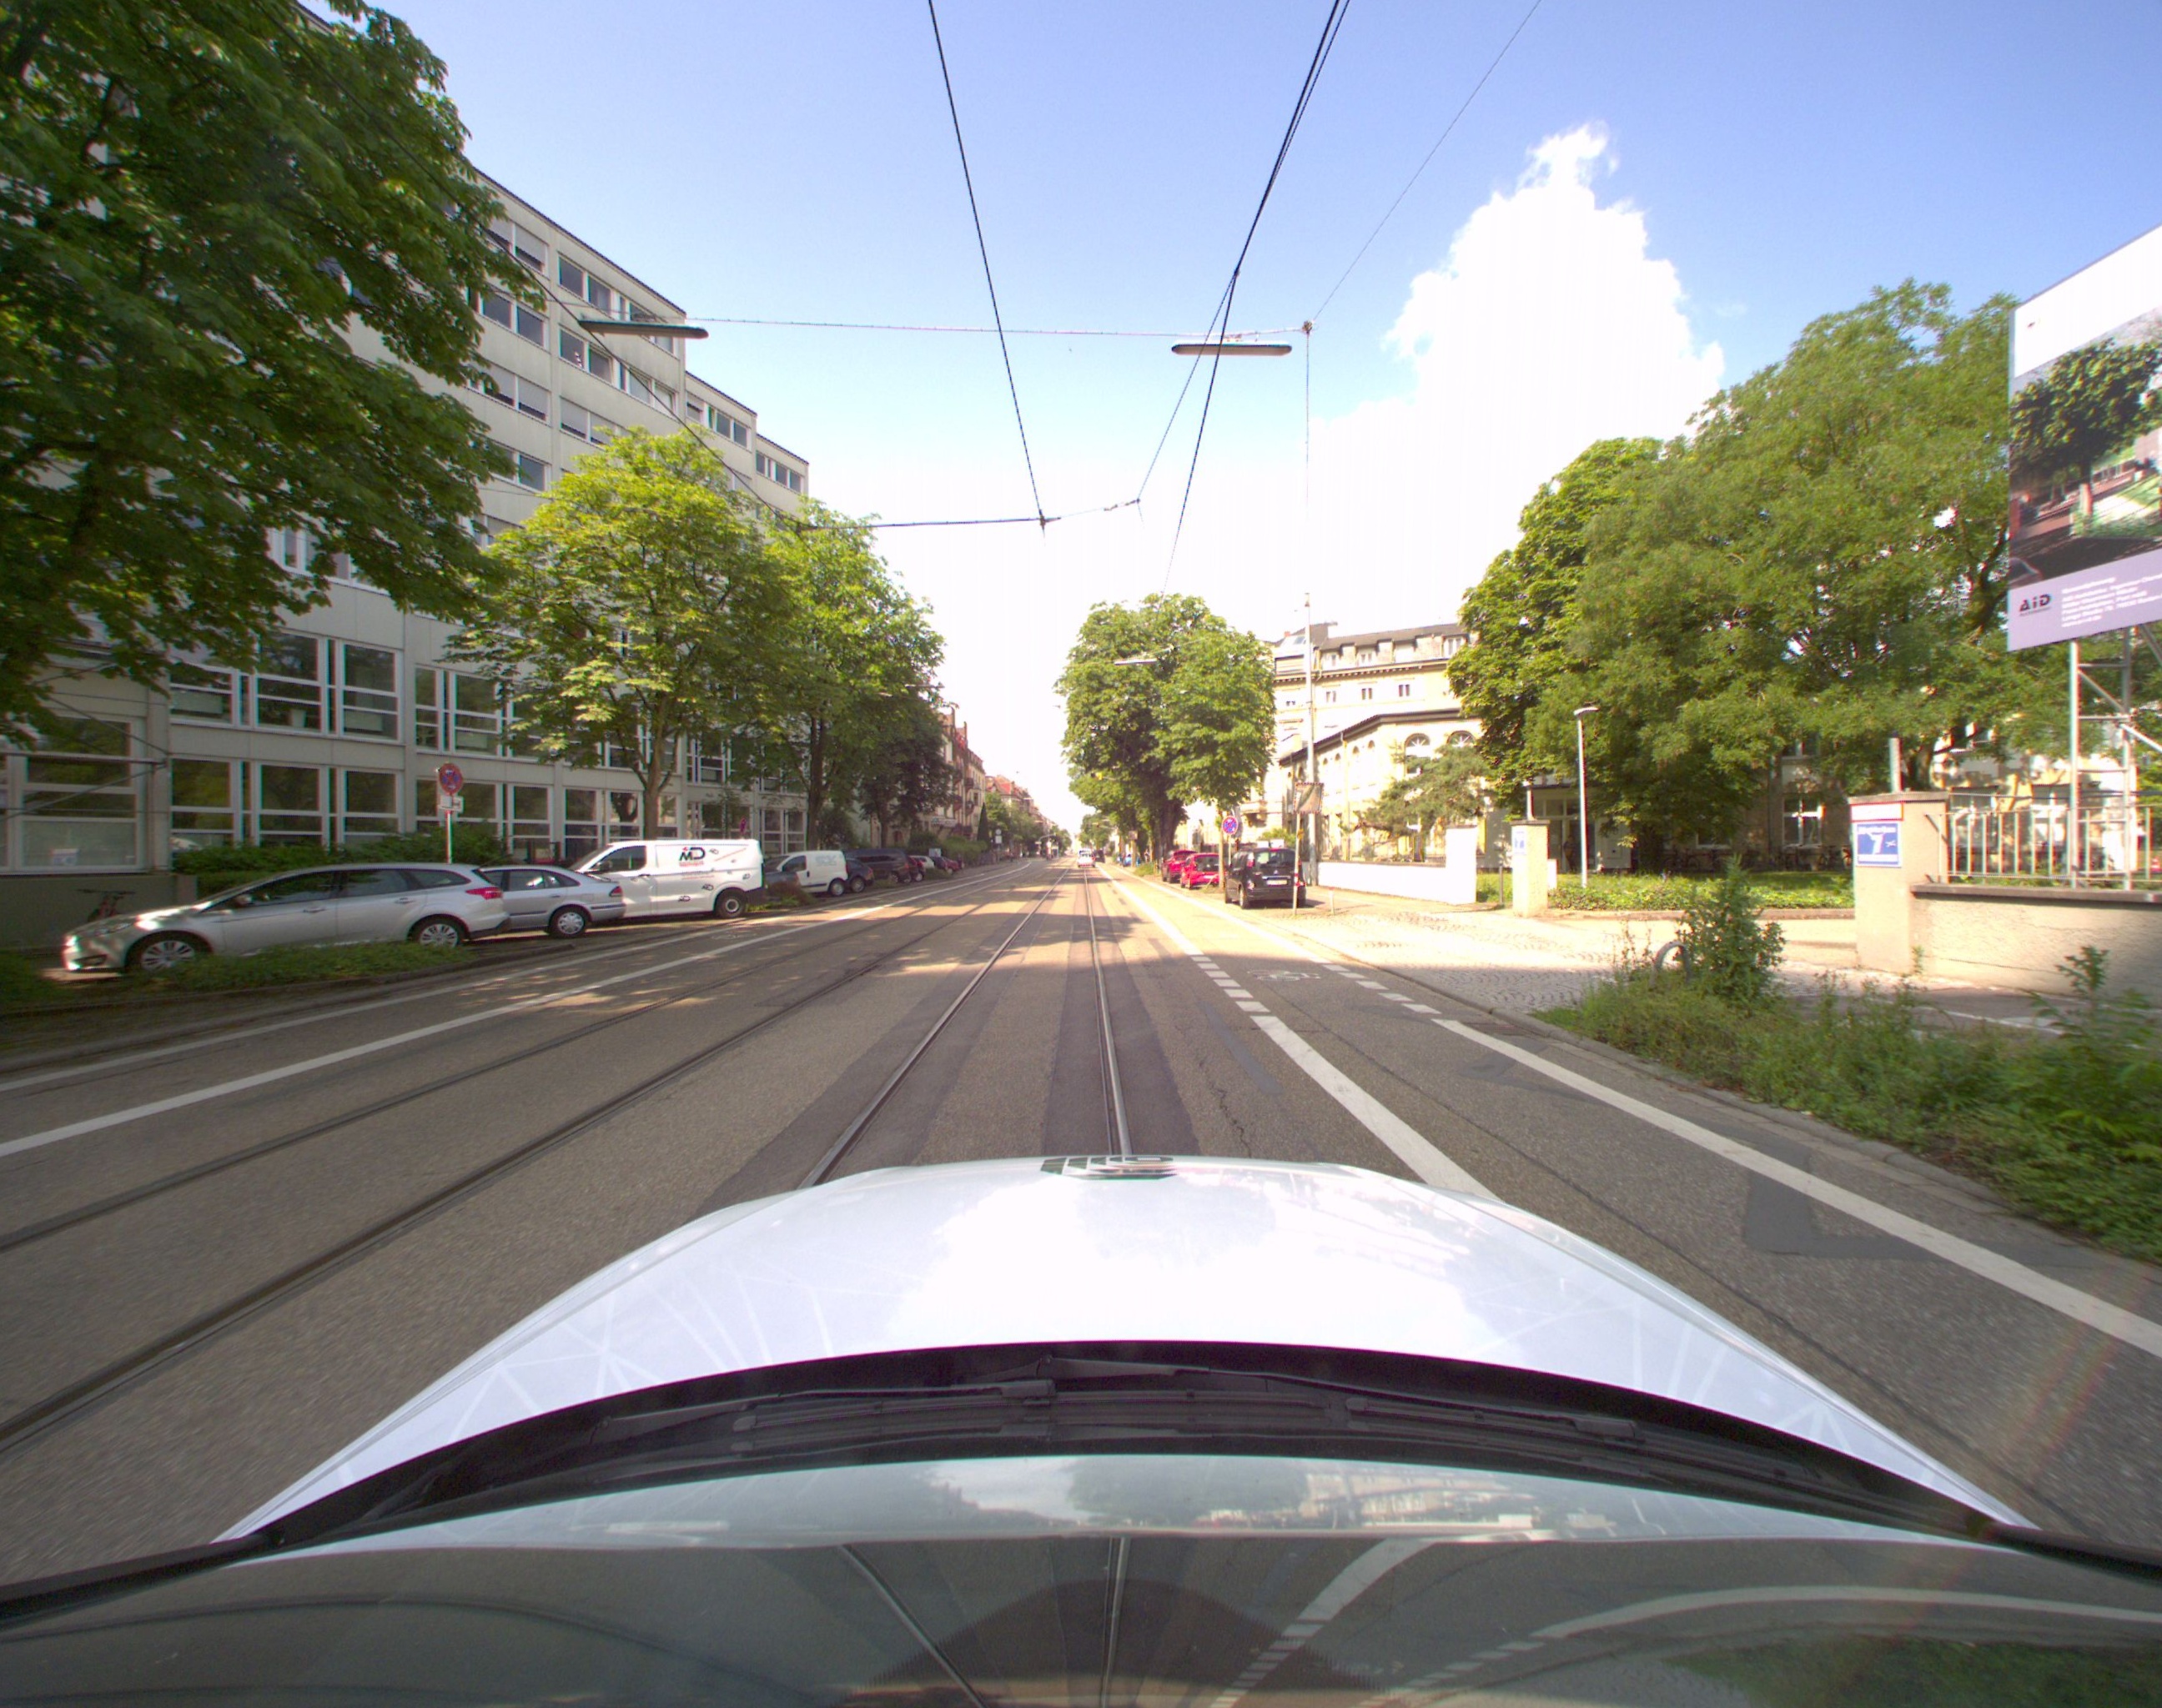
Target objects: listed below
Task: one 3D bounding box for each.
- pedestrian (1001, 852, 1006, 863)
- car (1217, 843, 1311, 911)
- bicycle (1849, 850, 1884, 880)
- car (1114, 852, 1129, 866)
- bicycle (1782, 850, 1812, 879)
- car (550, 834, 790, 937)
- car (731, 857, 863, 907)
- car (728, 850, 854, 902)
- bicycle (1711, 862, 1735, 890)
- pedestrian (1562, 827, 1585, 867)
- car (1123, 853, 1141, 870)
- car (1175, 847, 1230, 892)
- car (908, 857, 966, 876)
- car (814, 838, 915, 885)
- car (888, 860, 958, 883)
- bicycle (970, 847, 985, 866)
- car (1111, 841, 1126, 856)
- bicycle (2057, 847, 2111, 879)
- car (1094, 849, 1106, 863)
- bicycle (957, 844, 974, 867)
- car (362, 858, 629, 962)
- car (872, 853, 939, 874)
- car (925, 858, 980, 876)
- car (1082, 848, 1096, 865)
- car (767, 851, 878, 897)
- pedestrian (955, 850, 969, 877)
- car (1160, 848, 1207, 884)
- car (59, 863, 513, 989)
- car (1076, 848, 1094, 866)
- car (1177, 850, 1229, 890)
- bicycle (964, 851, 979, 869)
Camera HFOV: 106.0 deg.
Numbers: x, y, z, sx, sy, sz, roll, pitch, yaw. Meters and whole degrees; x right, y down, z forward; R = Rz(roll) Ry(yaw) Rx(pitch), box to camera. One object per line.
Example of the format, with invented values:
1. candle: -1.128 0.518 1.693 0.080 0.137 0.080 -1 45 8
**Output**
1. pedestrian: -14.831 0.643 155.681 0.884 2.014 0.785 -1 -1 -9
2. car: 4.935 0.565 22.413 1.669 1.611 3.584 -4 1 0
3. bicycle: 29.555 0.411 30.650 0.414 1.056 2.080 -5 -3 31
4. car: 5.015 0.582 101.719 1.616 1.684 3.564 -1 0 0
5. bicycle: 27.539 0.372 31.343 0.414 1.056 2.080 -5 -3 31
6. car: -9.702 0.658 19.456 4.668 1.911 1.909 -6 2 -42
7. car: -9.224 0.885 26.646 1.740 1.501 3.659 -2 -1 42
8. car: -10.288 0.734 29.043 1.860 1.712 3.781 -1 0 44
9. bicycle: 25.734 0.864 32.673 0.414 1.056 2.080 -5 -3 31
10. pedestrian: 20.914 -0.281 34.608 0.763 1.677 0.813 -1 -1 26
11. car: 5.238 0.748 83.546 1.616 1.684 3.564 -1 0 0
12. car: 5.025 0.603 34.082 1.669 1.611 3.584 -4 2 0
13. car: -10.266 0.874 58.118 3.805 1.306 1.619 -1 -1 -39
14. car: -10.295 0.398 38.916 1.860 2.081 4.228 2 -1 44
15. car: -9.477 1.026 49.004 3.805 1.306 1.619 -1 -1 -39
16. bicycle: -10.528 0.292 83.163 0.934 1.918 2.503 -1 0 6
17. car: 4.472 -0.649 98.338 1.616 1.684 3.564 -1 0 0
18. bicycle: 34.796 0.288 28.280 0.414 1.056 2.080 -5 -3 31
19. car: 2.692 0.268 114.966 1.616 1.849 3.564 -1 0 0
20. bicycle: -10.711 0.159 75.801 0.934 2.078 2.503 -1 0 6
21. car: -10.878 0.956 15.286 3.806 1.475 1.704 -4 1 -43
22. car: -11.144 0.590 51.832 3.805 1.306 1.619 -1 -1 -39
23. car: -9.707 0.964 61.447 3.805 1.306 1.619 -1 -1 -39
24. car: 0.981 0.262 99.833 1.616 2.000 3.564 -1 0 0
25. car: -10.245 0.744 32.399 1.860 1.712 3.781 -1 0 44
26. pedestrian: -9.055 0.717 61.988 0.730 2.013 0.825 -5 -1 3
27. car: 5.135 0.586 41.144 1.953 1.706 4.001 -1 0 1
28. car: -11.166 0.886 11.842 1.718 1.426 4.488 -2 -1 43
29. car: 0.393 0.280 79.322 1.616 1.684 3.564 -1 0 0
30. car: 5.029 0.636 33.931 1.661 1.486 3.279 -3 0 0
31. bicycle: -10.748 0.594 80.364 0.934 1.746 2.288 -1 0 6
